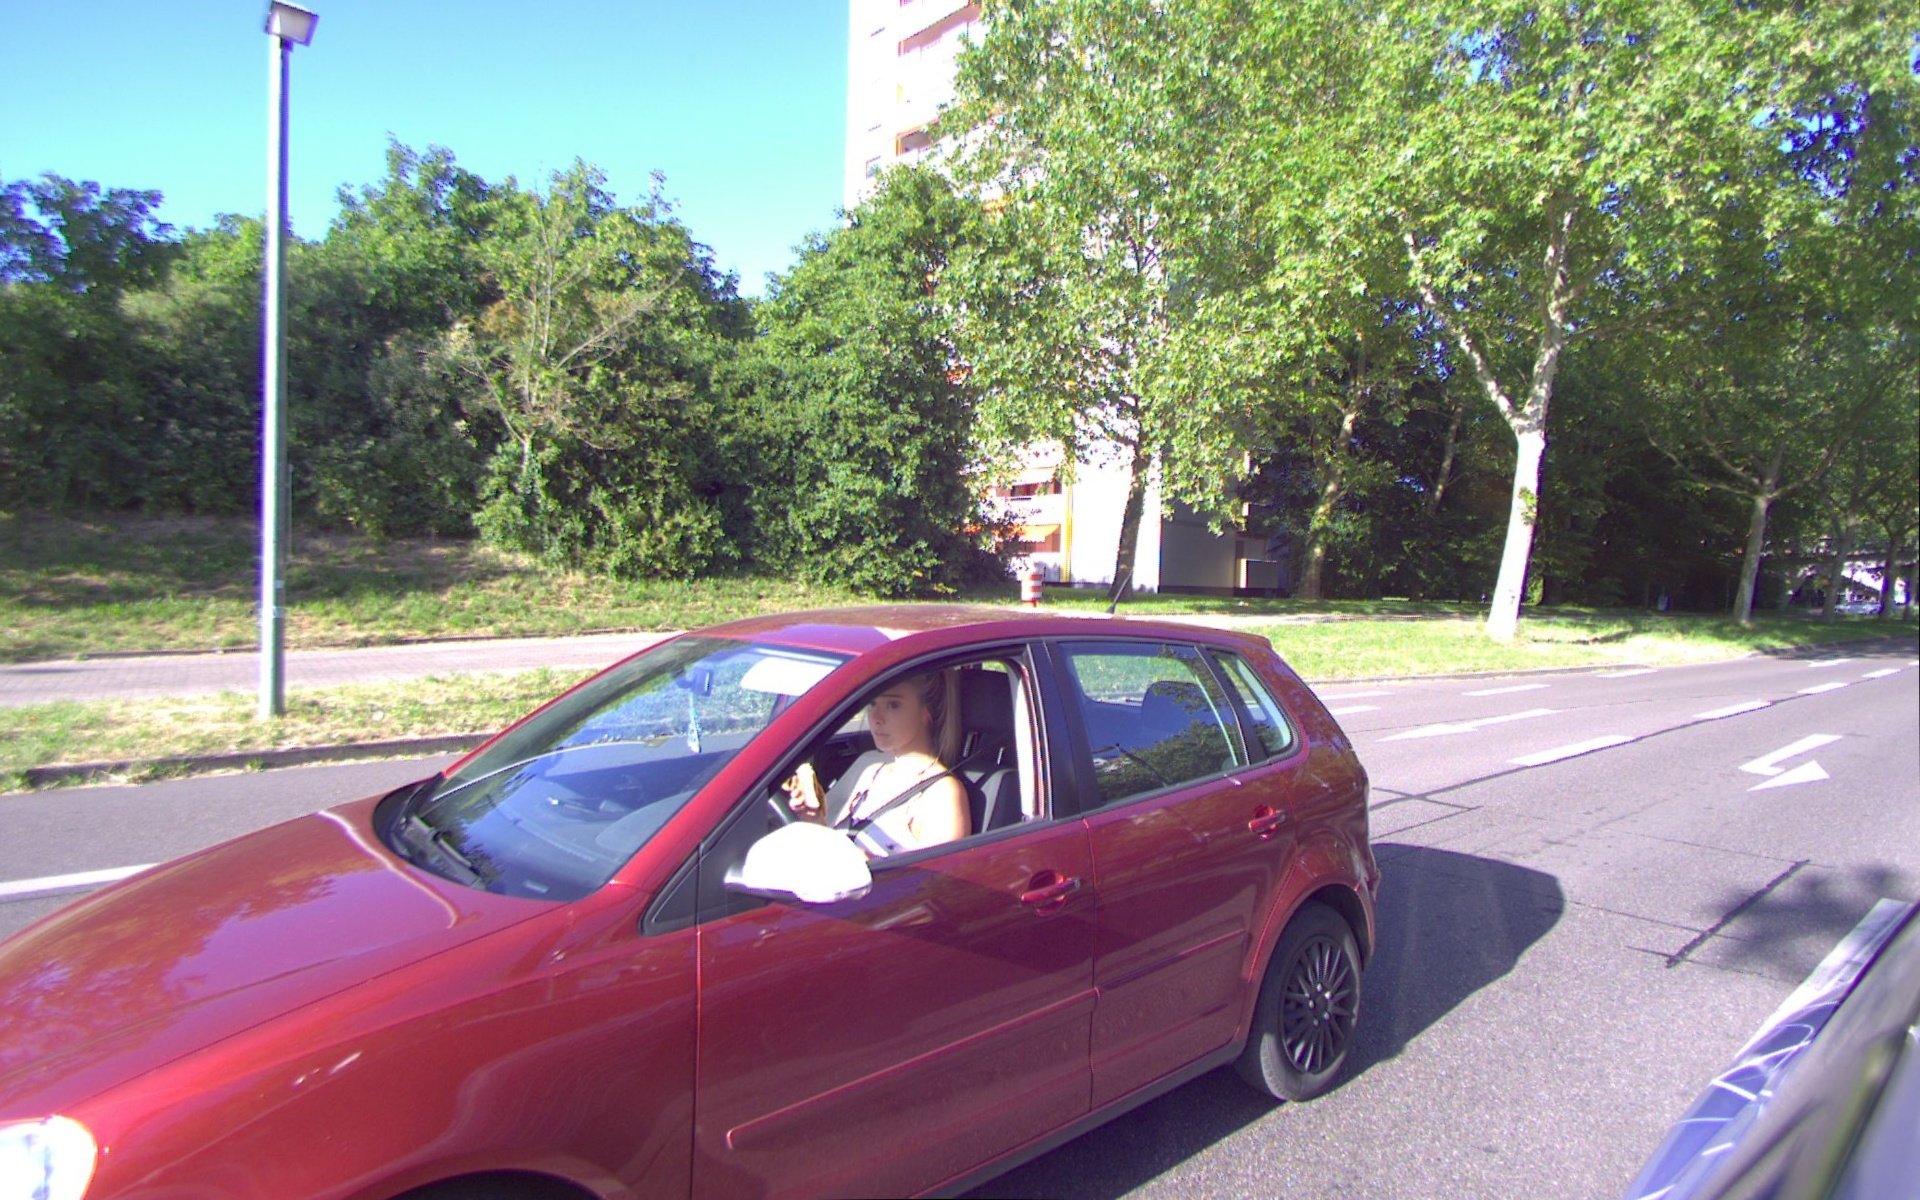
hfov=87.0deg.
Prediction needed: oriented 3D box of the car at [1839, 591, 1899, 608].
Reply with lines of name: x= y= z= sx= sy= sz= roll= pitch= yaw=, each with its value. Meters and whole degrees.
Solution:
car: x=81.581 y=-0.071 z=90.890 sx=3.983 sy=1.493 sz=1.772 roll=0 pitch=0 yaw=42

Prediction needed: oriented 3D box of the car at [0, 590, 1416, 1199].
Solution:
car: x=-0.440 y=0.709 z=2.781 sx=3.694 sy=1.456 sz=1.645 roll=-1 pitch=1 yaw=-40

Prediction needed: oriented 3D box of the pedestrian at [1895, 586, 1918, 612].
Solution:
pedestrian: x=75.359 y=-0.050 z=80.545 sx=0.943 sy=2.039 sz=0.920 roll=0 pitch=0 yaw=-5
